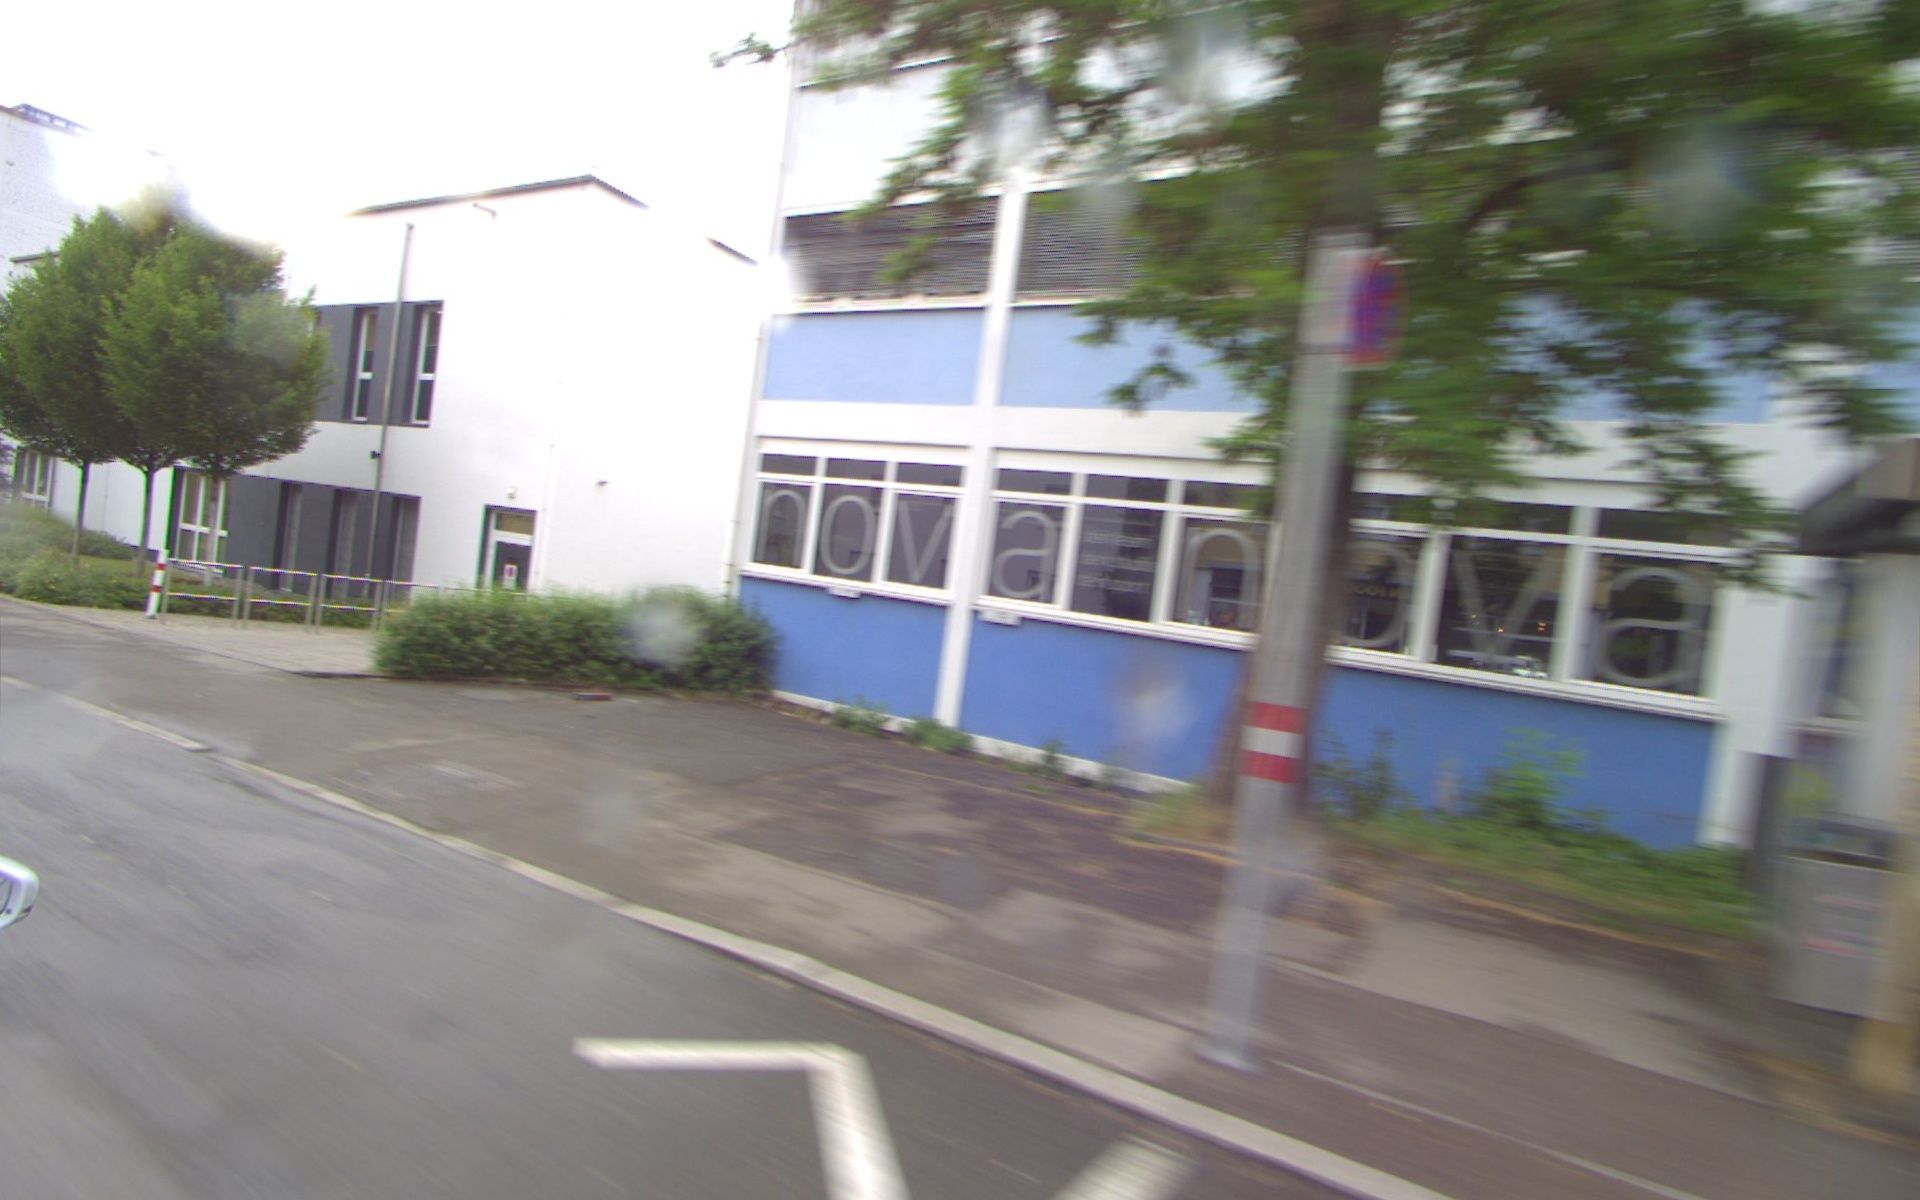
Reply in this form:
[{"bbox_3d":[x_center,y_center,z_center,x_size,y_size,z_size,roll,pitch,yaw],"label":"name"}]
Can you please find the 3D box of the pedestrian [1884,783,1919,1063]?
[{"bbox_3d":[4.516,1.081,4.122,0.728,1.855,0.647,7,2,26],"label":"pedestrian"}]
